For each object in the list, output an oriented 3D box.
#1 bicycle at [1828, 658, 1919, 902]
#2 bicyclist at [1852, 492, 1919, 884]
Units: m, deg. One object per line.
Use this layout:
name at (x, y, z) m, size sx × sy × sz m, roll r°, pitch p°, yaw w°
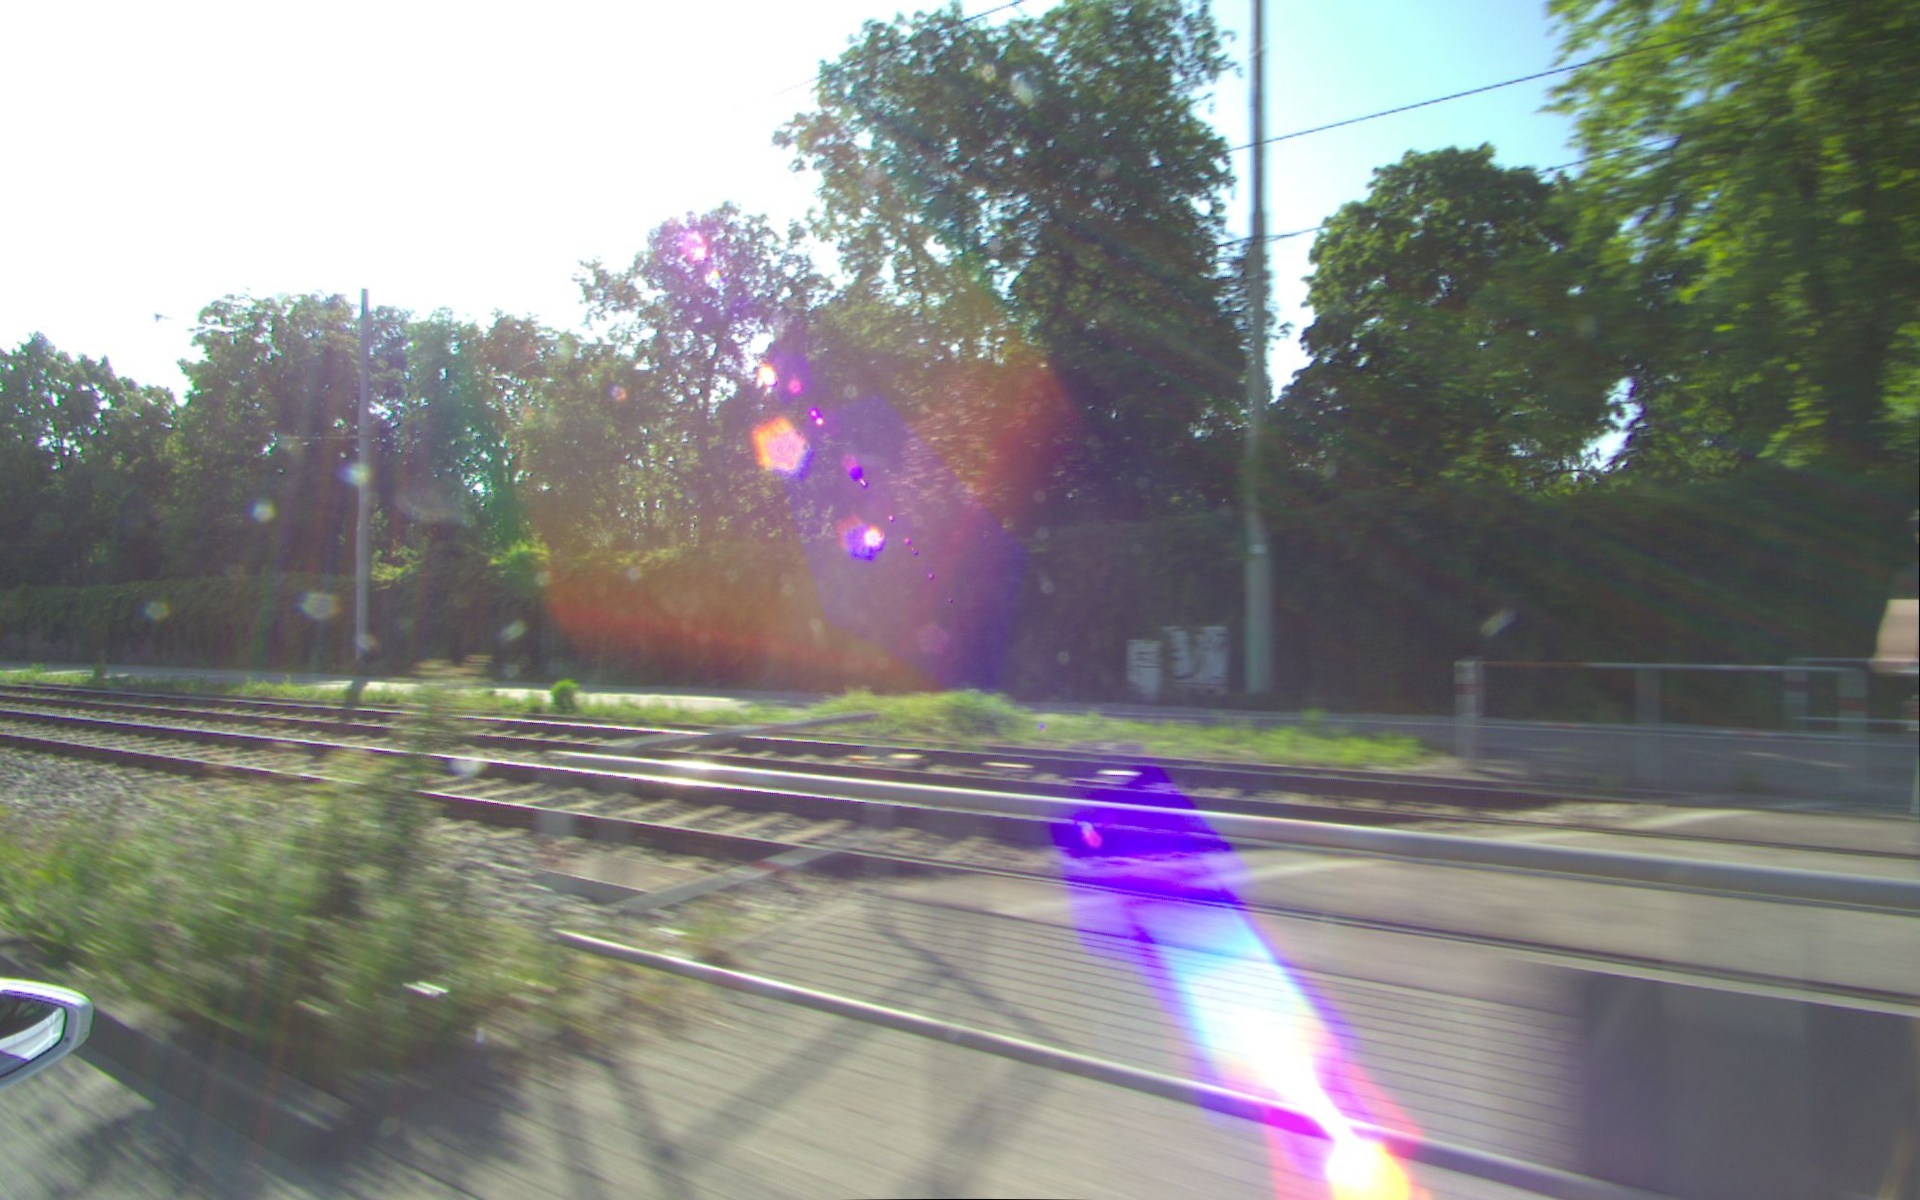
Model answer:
bicycle at (5.482, 0.898, 5.269) m, size 1.902 × 1.129 × 0.941 m, roll 1°, pitch -1°, yaw -35°
bicyclist at (5.475, 0.453, 5.274) m, size 1.023 × 2.019 × 0.941 m, roll 0°, pitch -1°, yaw -34°
